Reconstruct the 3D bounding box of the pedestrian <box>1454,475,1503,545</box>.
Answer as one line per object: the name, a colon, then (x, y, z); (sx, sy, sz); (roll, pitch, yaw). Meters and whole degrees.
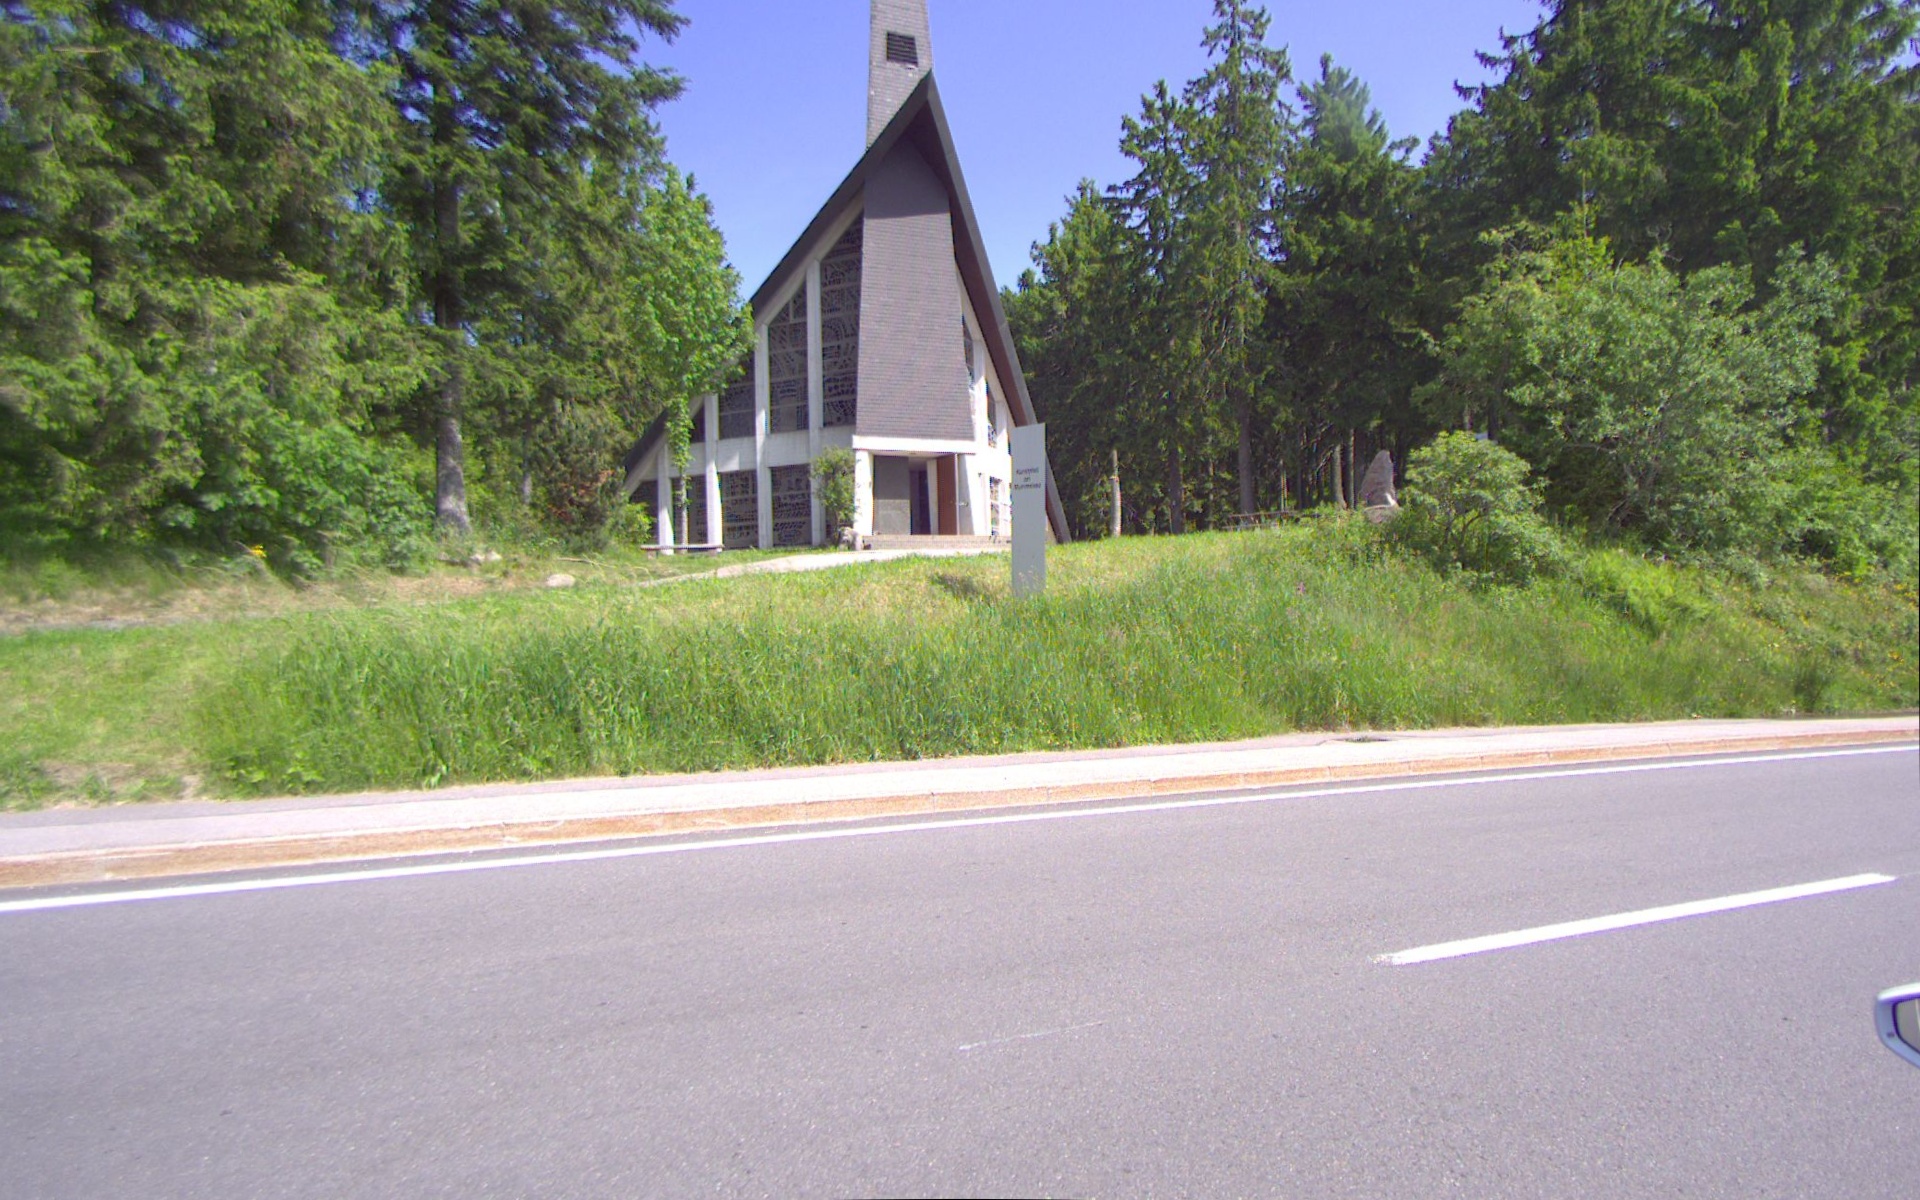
pedestrian: (12.924, -2.221, 25.040); (0.733, 1.651, 0.806); (1, 0, -27)
